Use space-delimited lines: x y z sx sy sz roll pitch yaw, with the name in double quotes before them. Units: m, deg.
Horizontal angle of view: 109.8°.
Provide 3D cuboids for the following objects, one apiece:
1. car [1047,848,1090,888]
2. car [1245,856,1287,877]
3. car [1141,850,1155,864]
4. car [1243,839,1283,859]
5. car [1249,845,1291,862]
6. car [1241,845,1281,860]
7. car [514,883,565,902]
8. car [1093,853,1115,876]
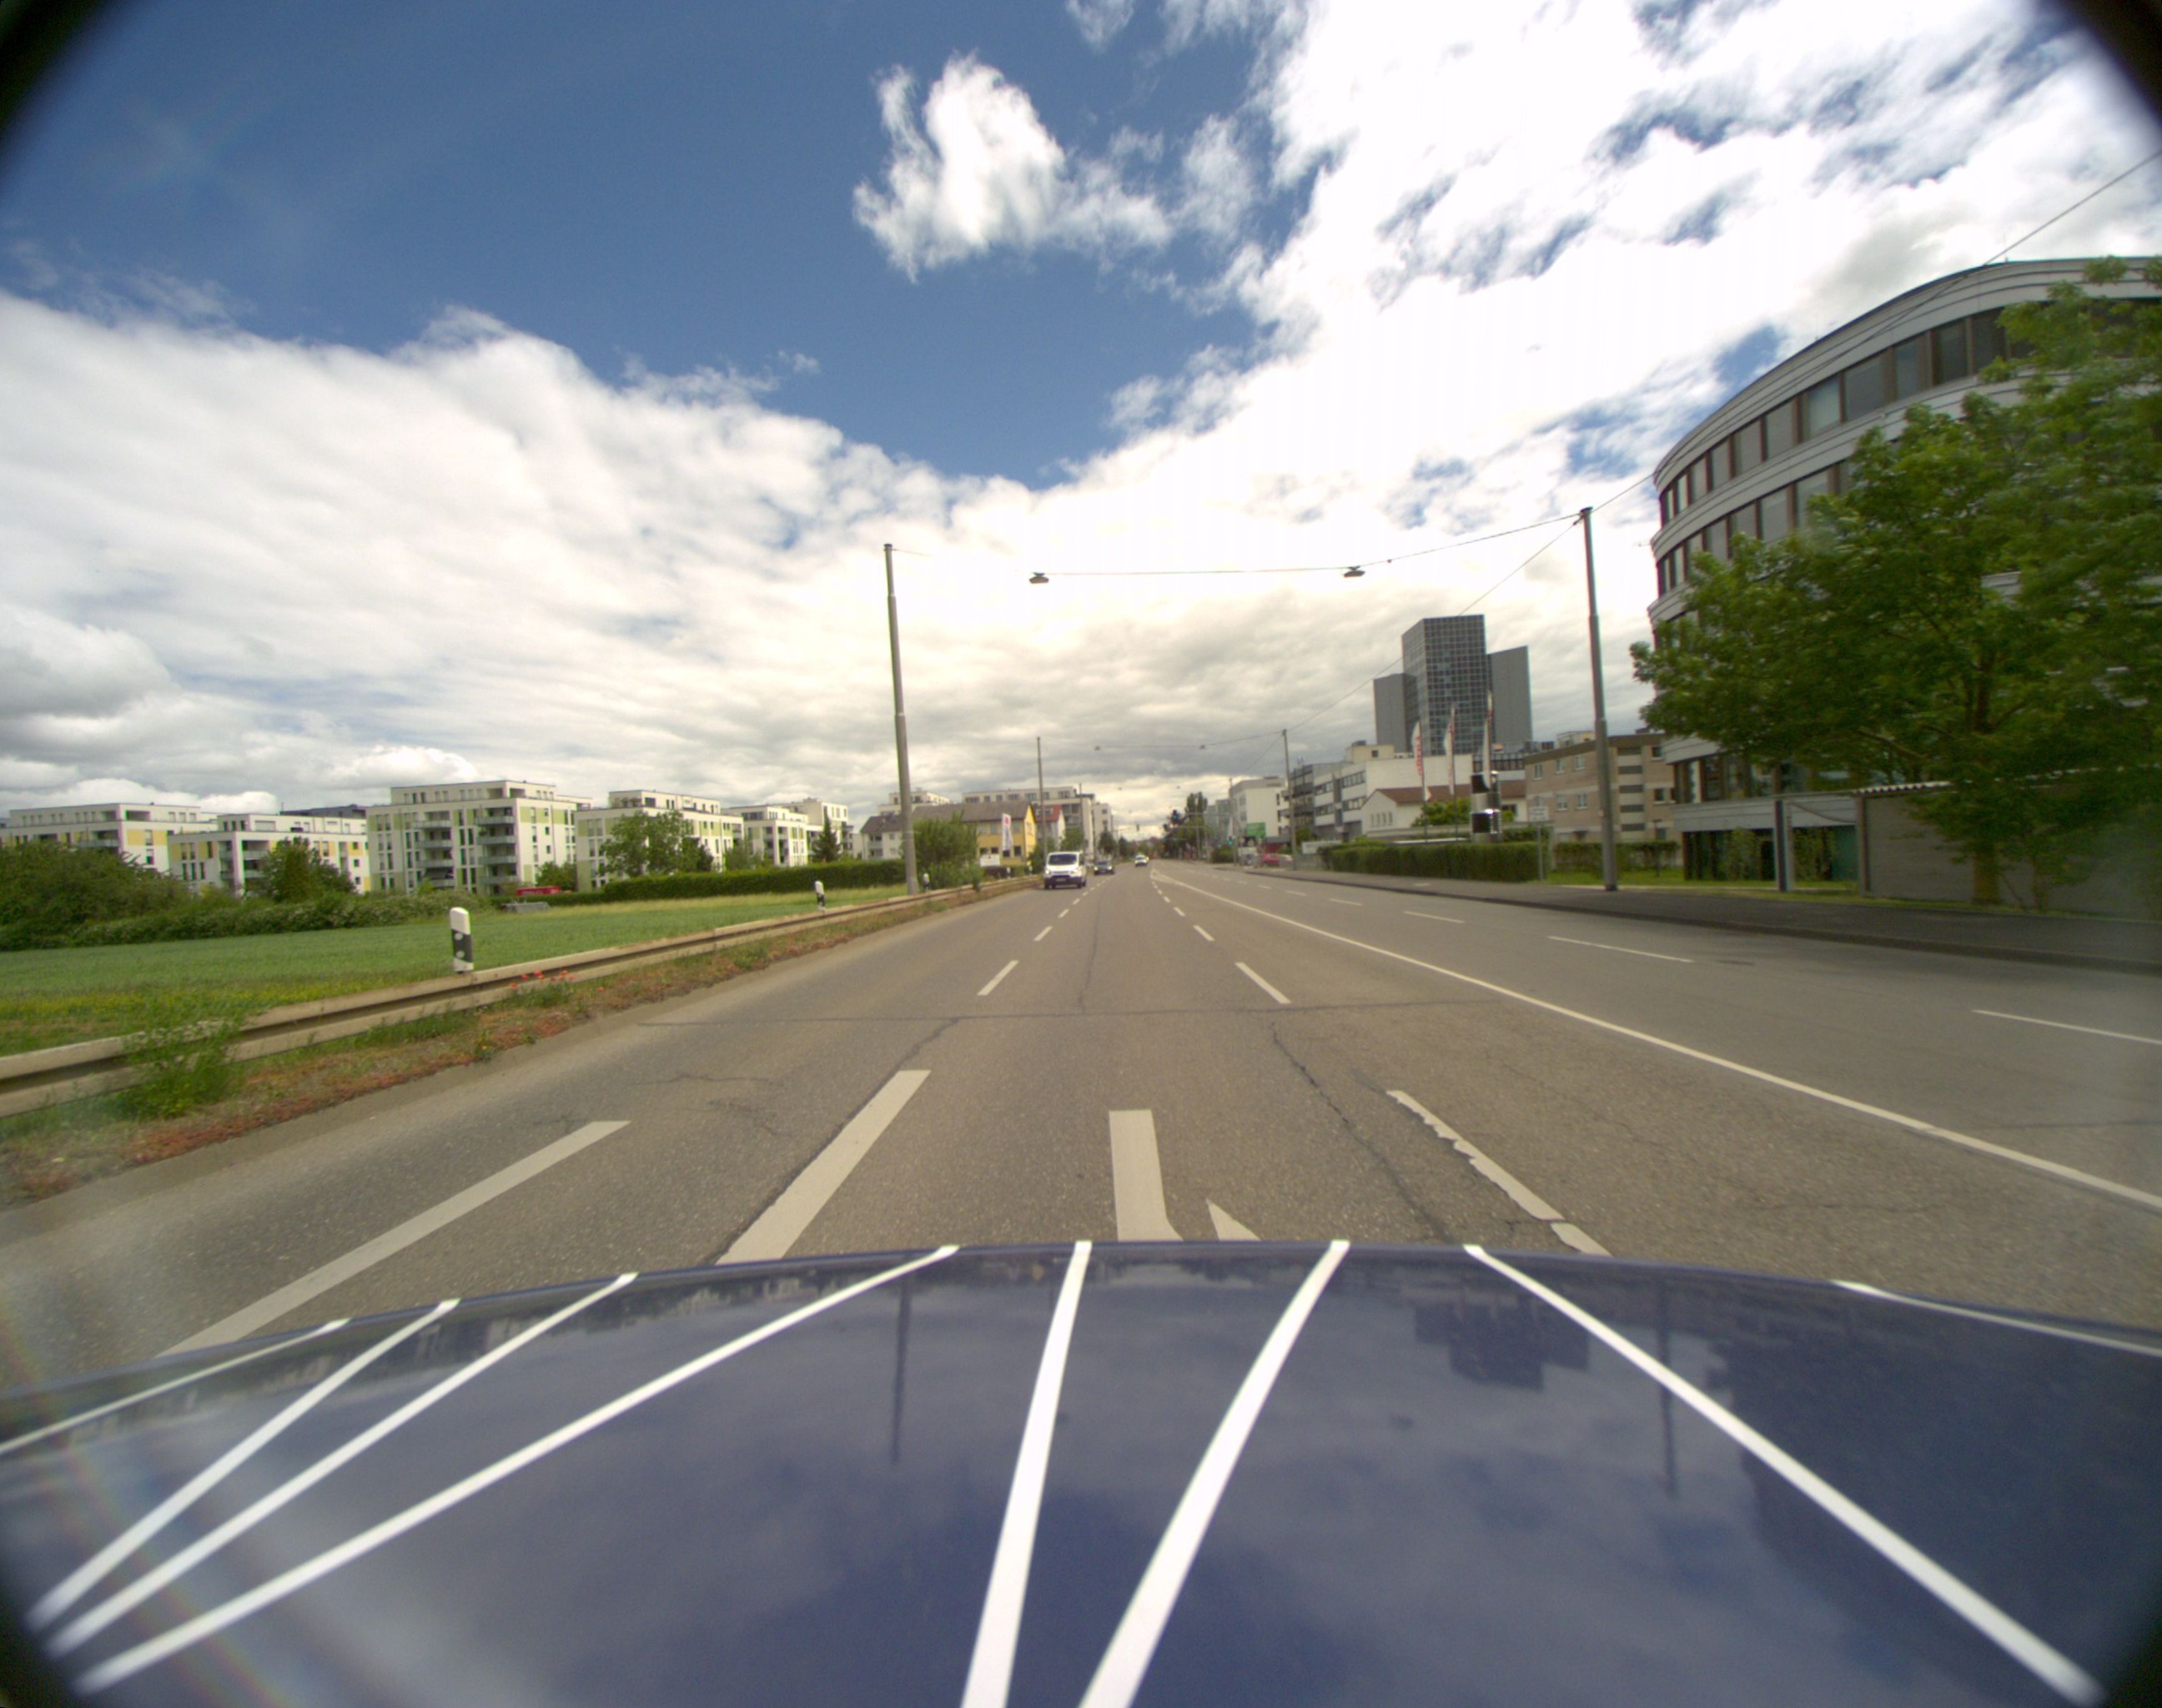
"car" -0.588 0.704 42.125 1.998 1.907 5.882 -3 1 2
"car" 19.862 1.378 81.511 3.996 2.002 1.920 -3 1 2
"car" 10.532 0.472 119.256 1.800 2.002 4.000 -3 1 1
"car" 20.046 -0.525 83.756 3.996 2.002 1.904 -3 1 2
"car" 19.457 -0.019 78.136 3.802 1.601 1.836 -2 0 -1
"car" 20.293 -0.168 85.847 3.996 1.324 1.824 -5 -1 2
"car" -64.472 4.576 90.494 4.437 2.002 2.000 -3 1 -1
"car" 2.020 0.885 67.325 1.807 1.914 4.000 -3 1 1
